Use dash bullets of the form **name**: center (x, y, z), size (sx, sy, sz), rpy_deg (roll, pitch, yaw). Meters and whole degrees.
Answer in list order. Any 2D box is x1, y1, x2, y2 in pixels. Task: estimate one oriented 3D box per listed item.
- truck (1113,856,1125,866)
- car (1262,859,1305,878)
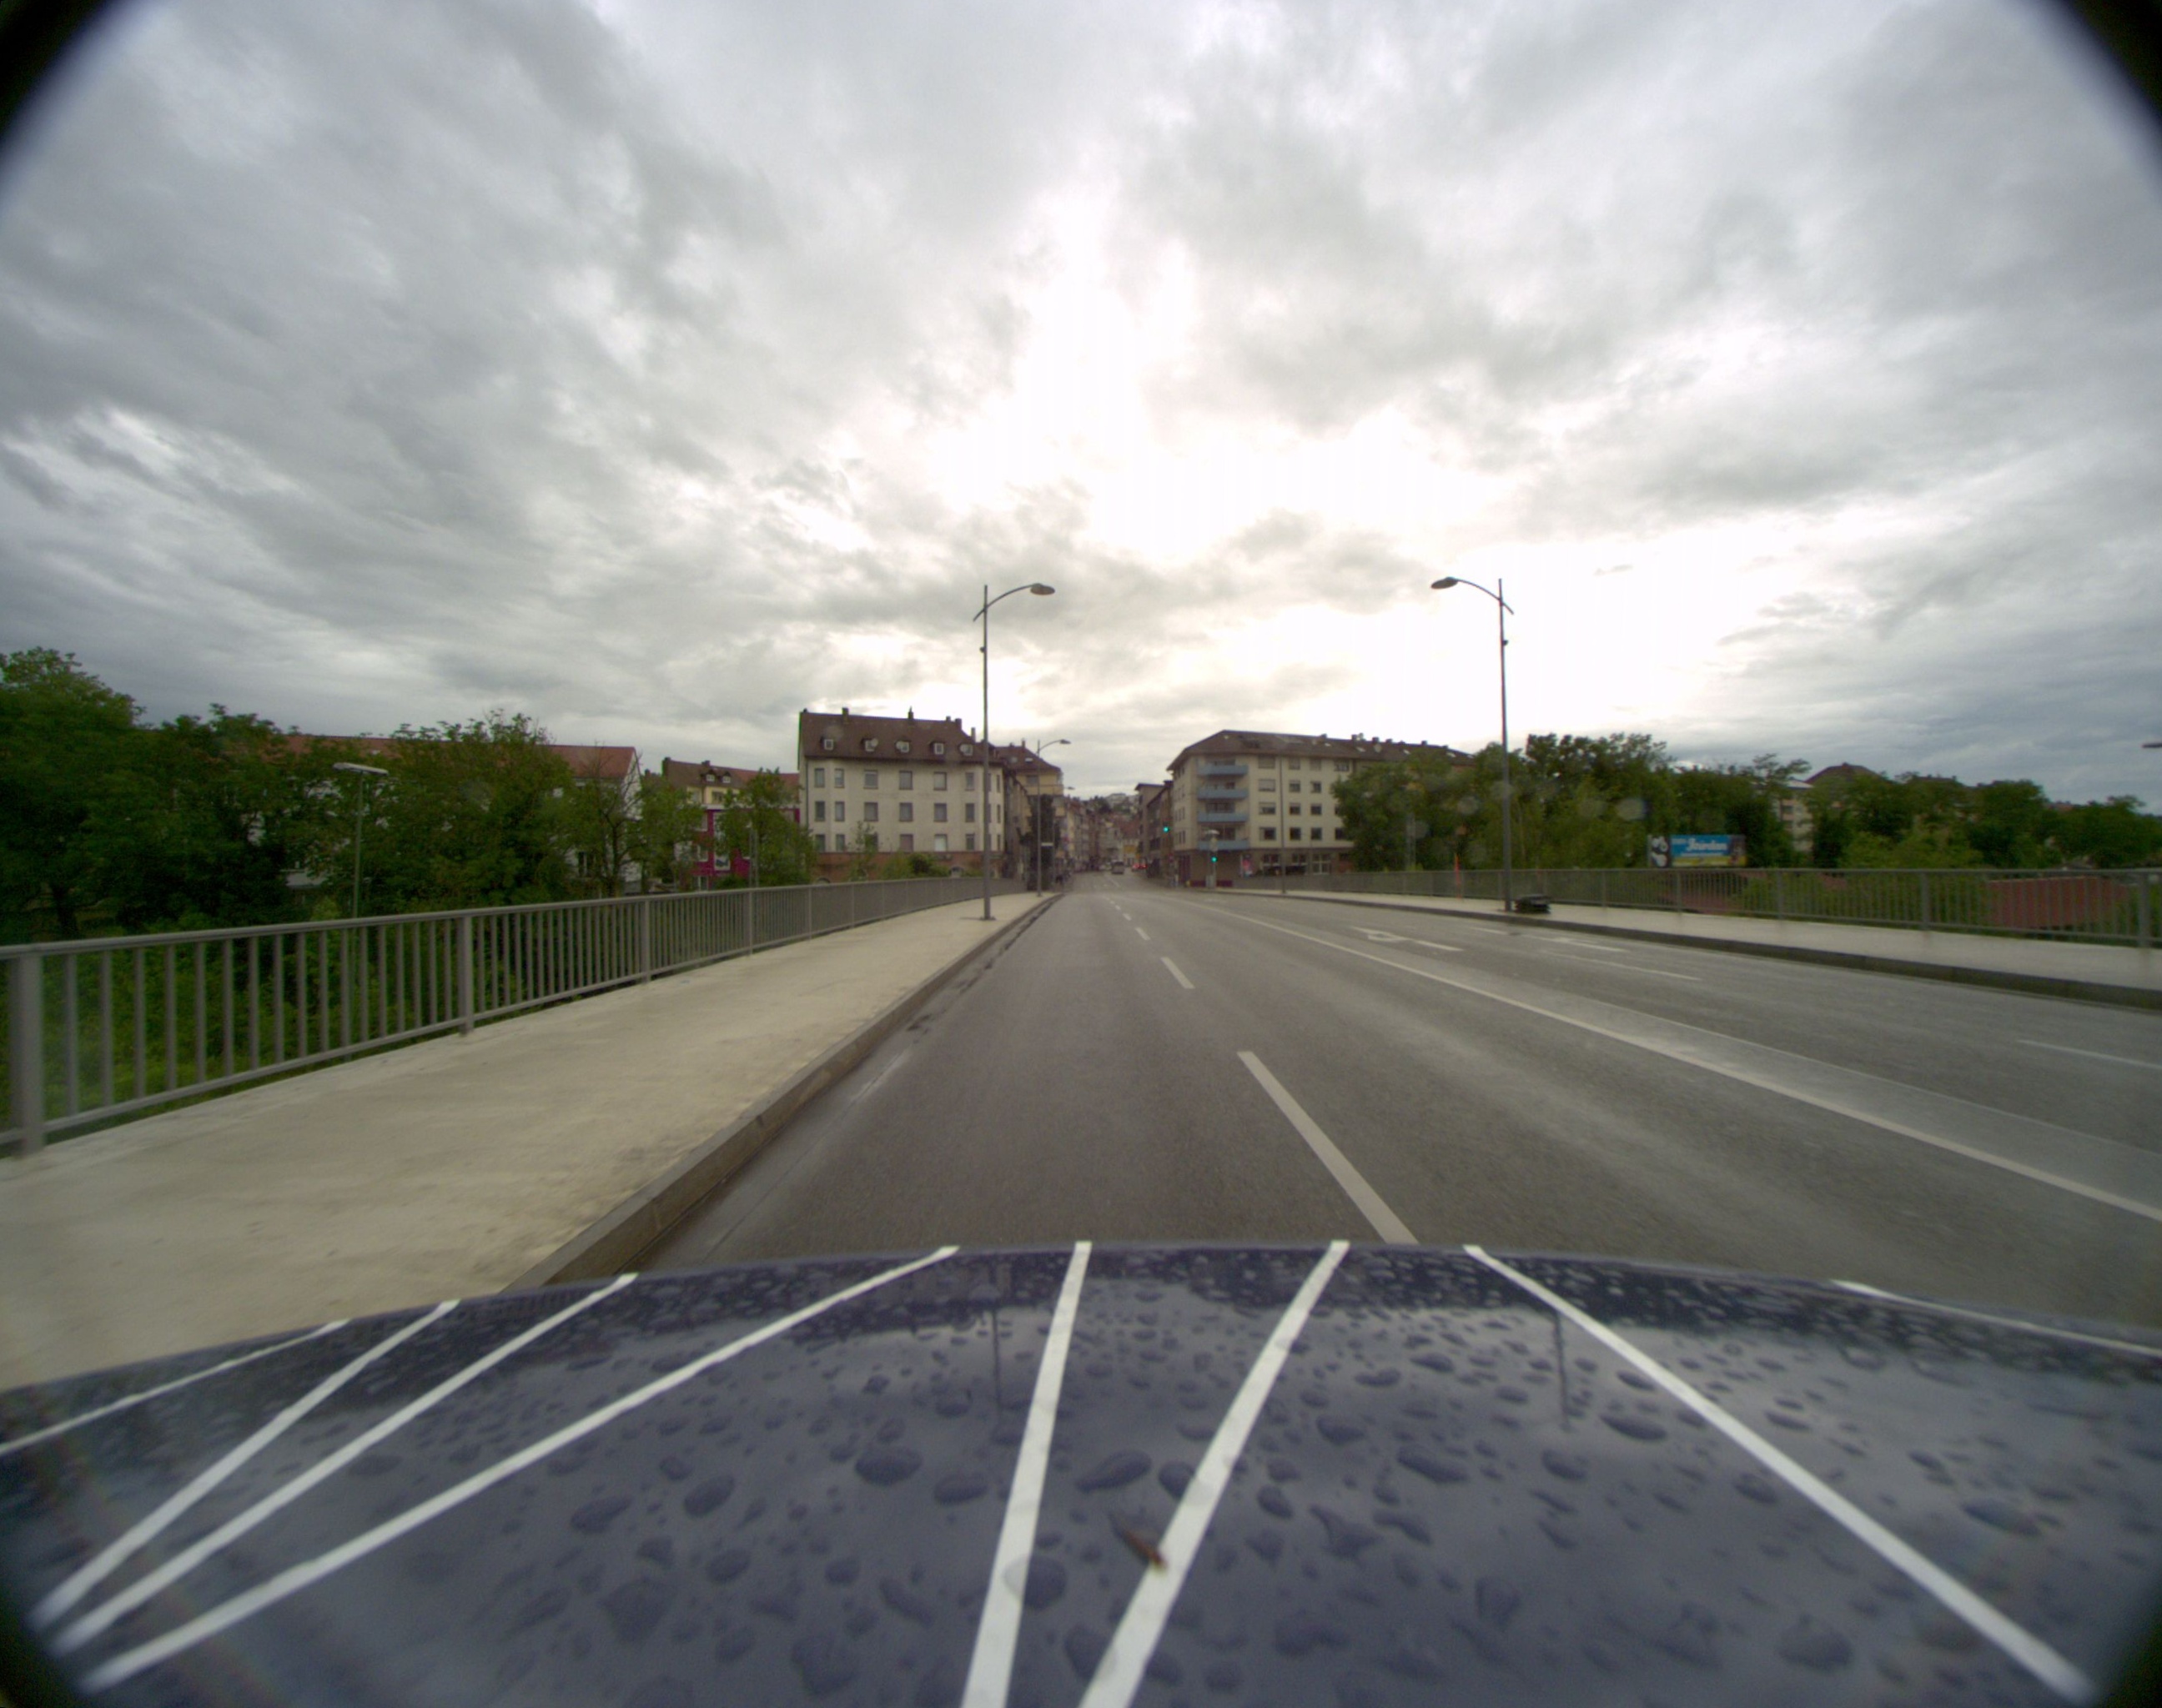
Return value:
- **truck**: center (8.437, 1.605, 167.899), size (2.475, 2.002, 4.820), rpy_deg (-2, 0, 0)
- **car**: center (23.501, 1.685, 88.149), size (4.359, 2.002, 2.131), rpy_deg (-2, 0, -20)
